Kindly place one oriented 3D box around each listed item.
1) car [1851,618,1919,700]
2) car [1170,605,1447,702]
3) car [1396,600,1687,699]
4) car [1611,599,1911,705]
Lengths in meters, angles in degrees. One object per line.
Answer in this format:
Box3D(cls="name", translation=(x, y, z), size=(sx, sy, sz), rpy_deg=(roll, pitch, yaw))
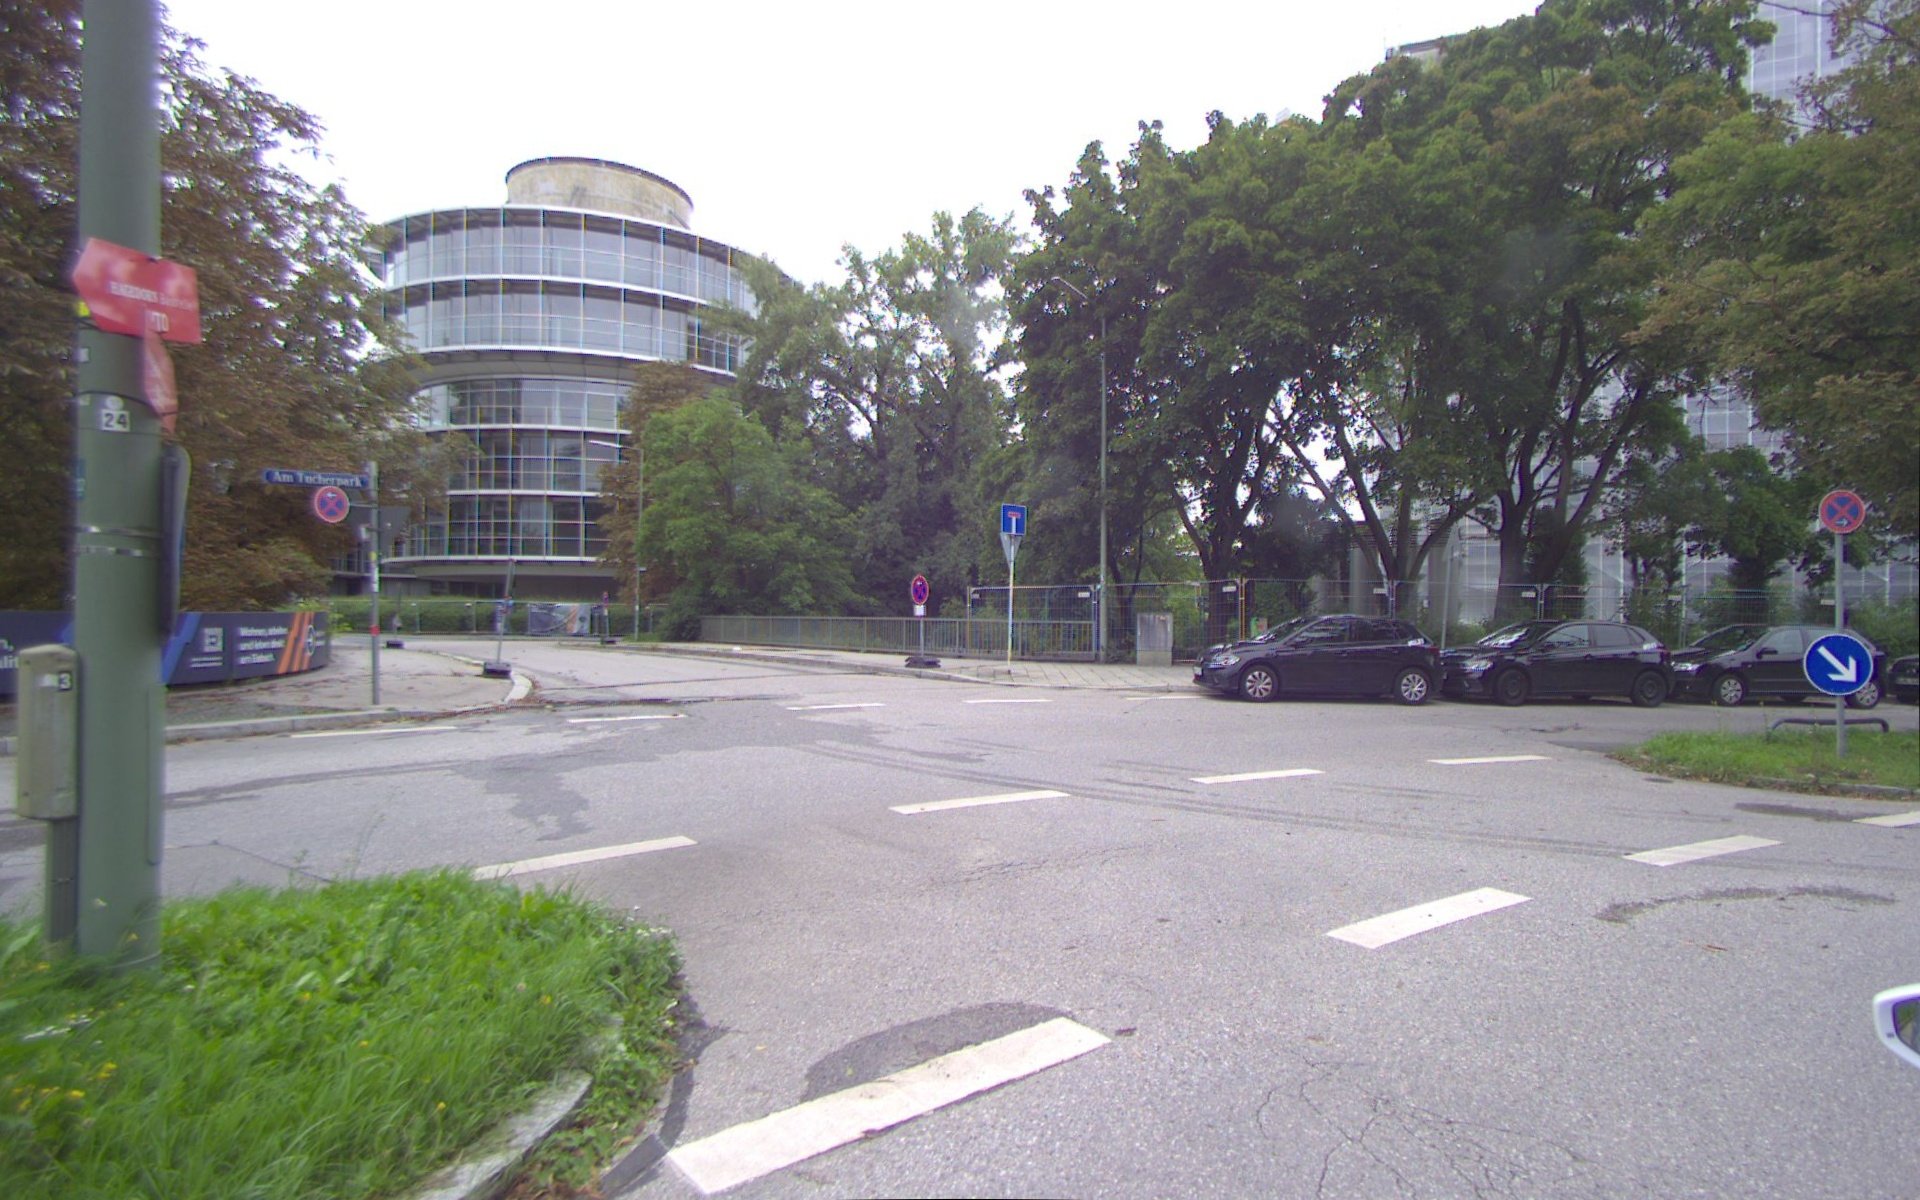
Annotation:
Box3D(cls="car", translation=(19.143, 1.105, 18.534), size=(3.929, 1.480, 1.839), rpy_deg=(1, -1, -4))
Box3D(cls="car", translation=(5.807, 0.871, 17.082), size=(3.965, 1.452, 1.999), rpy_deg=(1, 1, -4))
Box3D(cls="car", translation=(9.975, 0.817, 17.456), size=(3.923, 1.561, 1.999), rpy_deg=(1, 0, -4))
Box3D(cls="car", translation=(14.423, 0.900, 18.245), size=(3.923, 1.729, 1.999), rpy_deg=(1, 1, -4))
